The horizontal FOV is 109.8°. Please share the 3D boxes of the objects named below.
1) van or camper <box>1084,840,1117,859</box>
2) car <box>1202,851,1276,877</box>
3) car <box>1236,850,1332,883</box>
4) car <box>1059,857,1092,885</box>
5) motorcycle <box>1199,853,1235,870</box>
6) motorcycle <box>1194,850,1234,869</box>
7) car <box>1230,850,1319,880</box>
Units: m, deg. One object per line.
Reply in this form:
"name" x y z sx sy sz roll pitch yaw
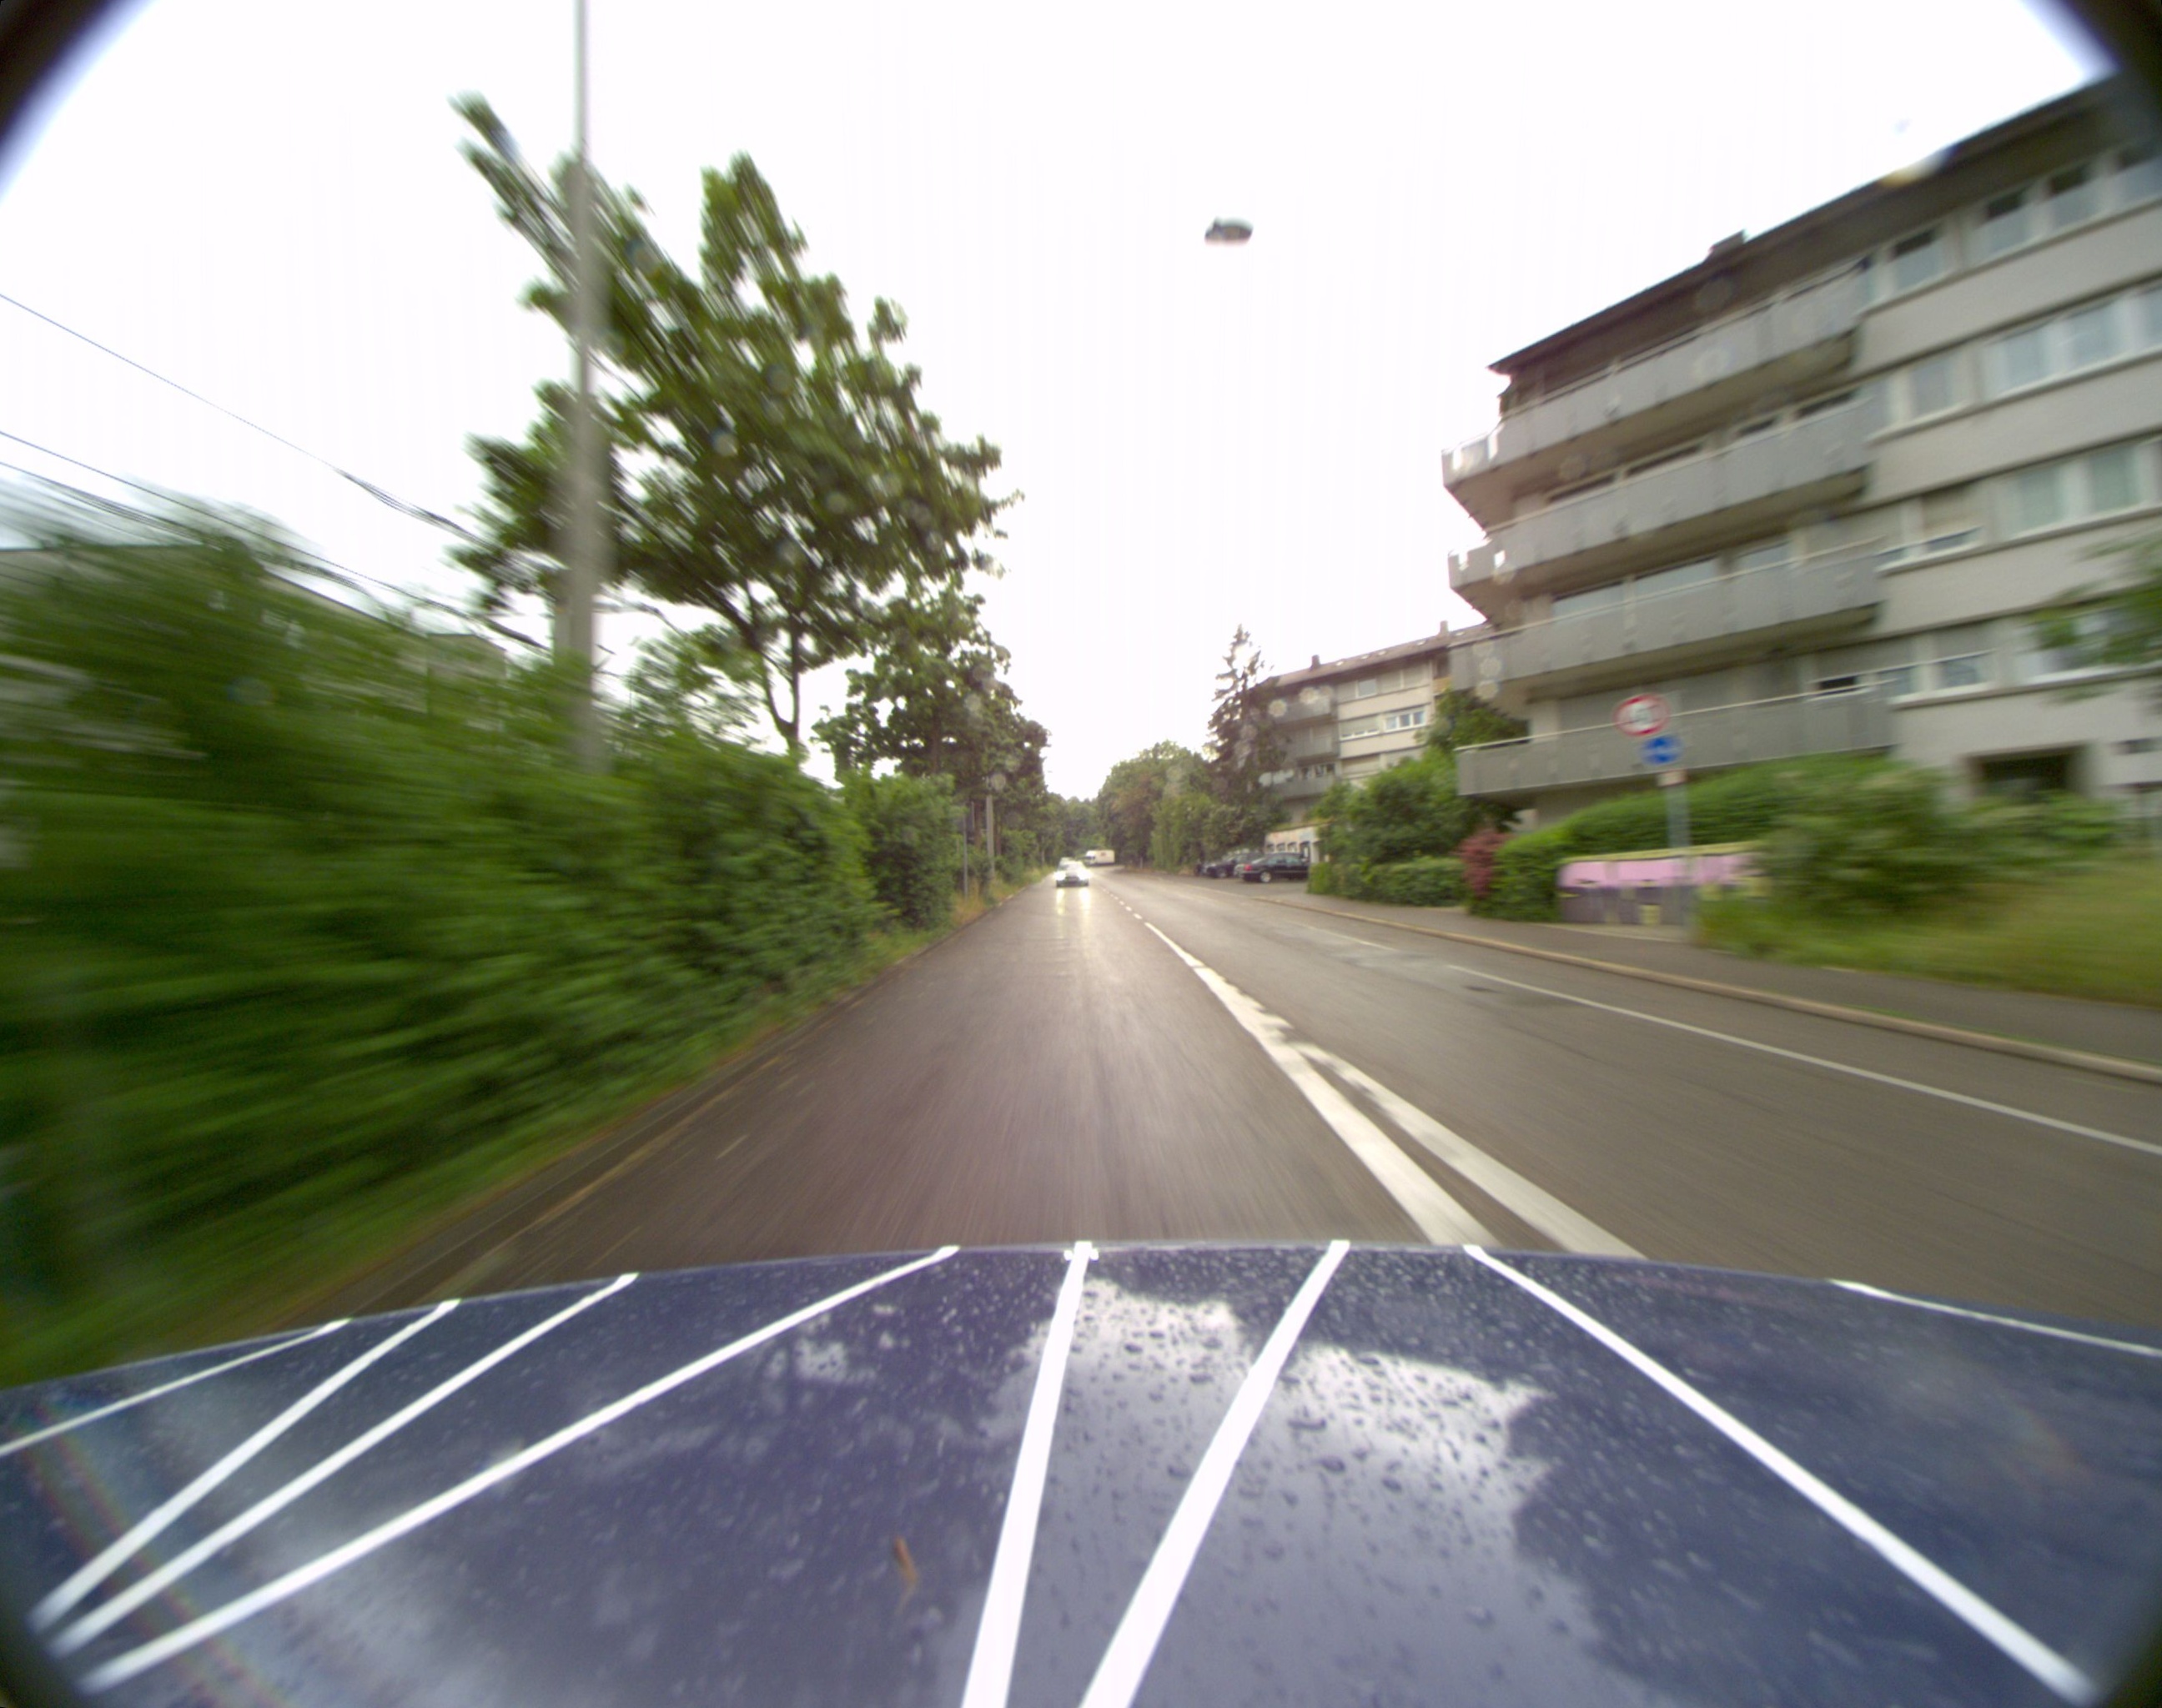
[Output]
"van or camper" 4.312 -0.939 163.403 2.882 3.915 8.159 -1 0 35
"car" 10.345 0.638 49.919 4.440 1.519 1.774 -2 0 0
"car" 10.615 0.639 39.892 4.496 1.481 1.848 -3 1 0
"car" -0.330 1.042 46.204 1.861 1.468 4.001 -4 -2 -1
"motorcycle" 9.685 0.541 54.155 2.460 1.102 0.661 -2 1 6
"motorcycle" 9.805 0.422 55.919 2.806 1.265 1.280 -2 1 15
"car" 10.721 0.596 42.266 4.441 1.519 1.774 -2 0 -3
